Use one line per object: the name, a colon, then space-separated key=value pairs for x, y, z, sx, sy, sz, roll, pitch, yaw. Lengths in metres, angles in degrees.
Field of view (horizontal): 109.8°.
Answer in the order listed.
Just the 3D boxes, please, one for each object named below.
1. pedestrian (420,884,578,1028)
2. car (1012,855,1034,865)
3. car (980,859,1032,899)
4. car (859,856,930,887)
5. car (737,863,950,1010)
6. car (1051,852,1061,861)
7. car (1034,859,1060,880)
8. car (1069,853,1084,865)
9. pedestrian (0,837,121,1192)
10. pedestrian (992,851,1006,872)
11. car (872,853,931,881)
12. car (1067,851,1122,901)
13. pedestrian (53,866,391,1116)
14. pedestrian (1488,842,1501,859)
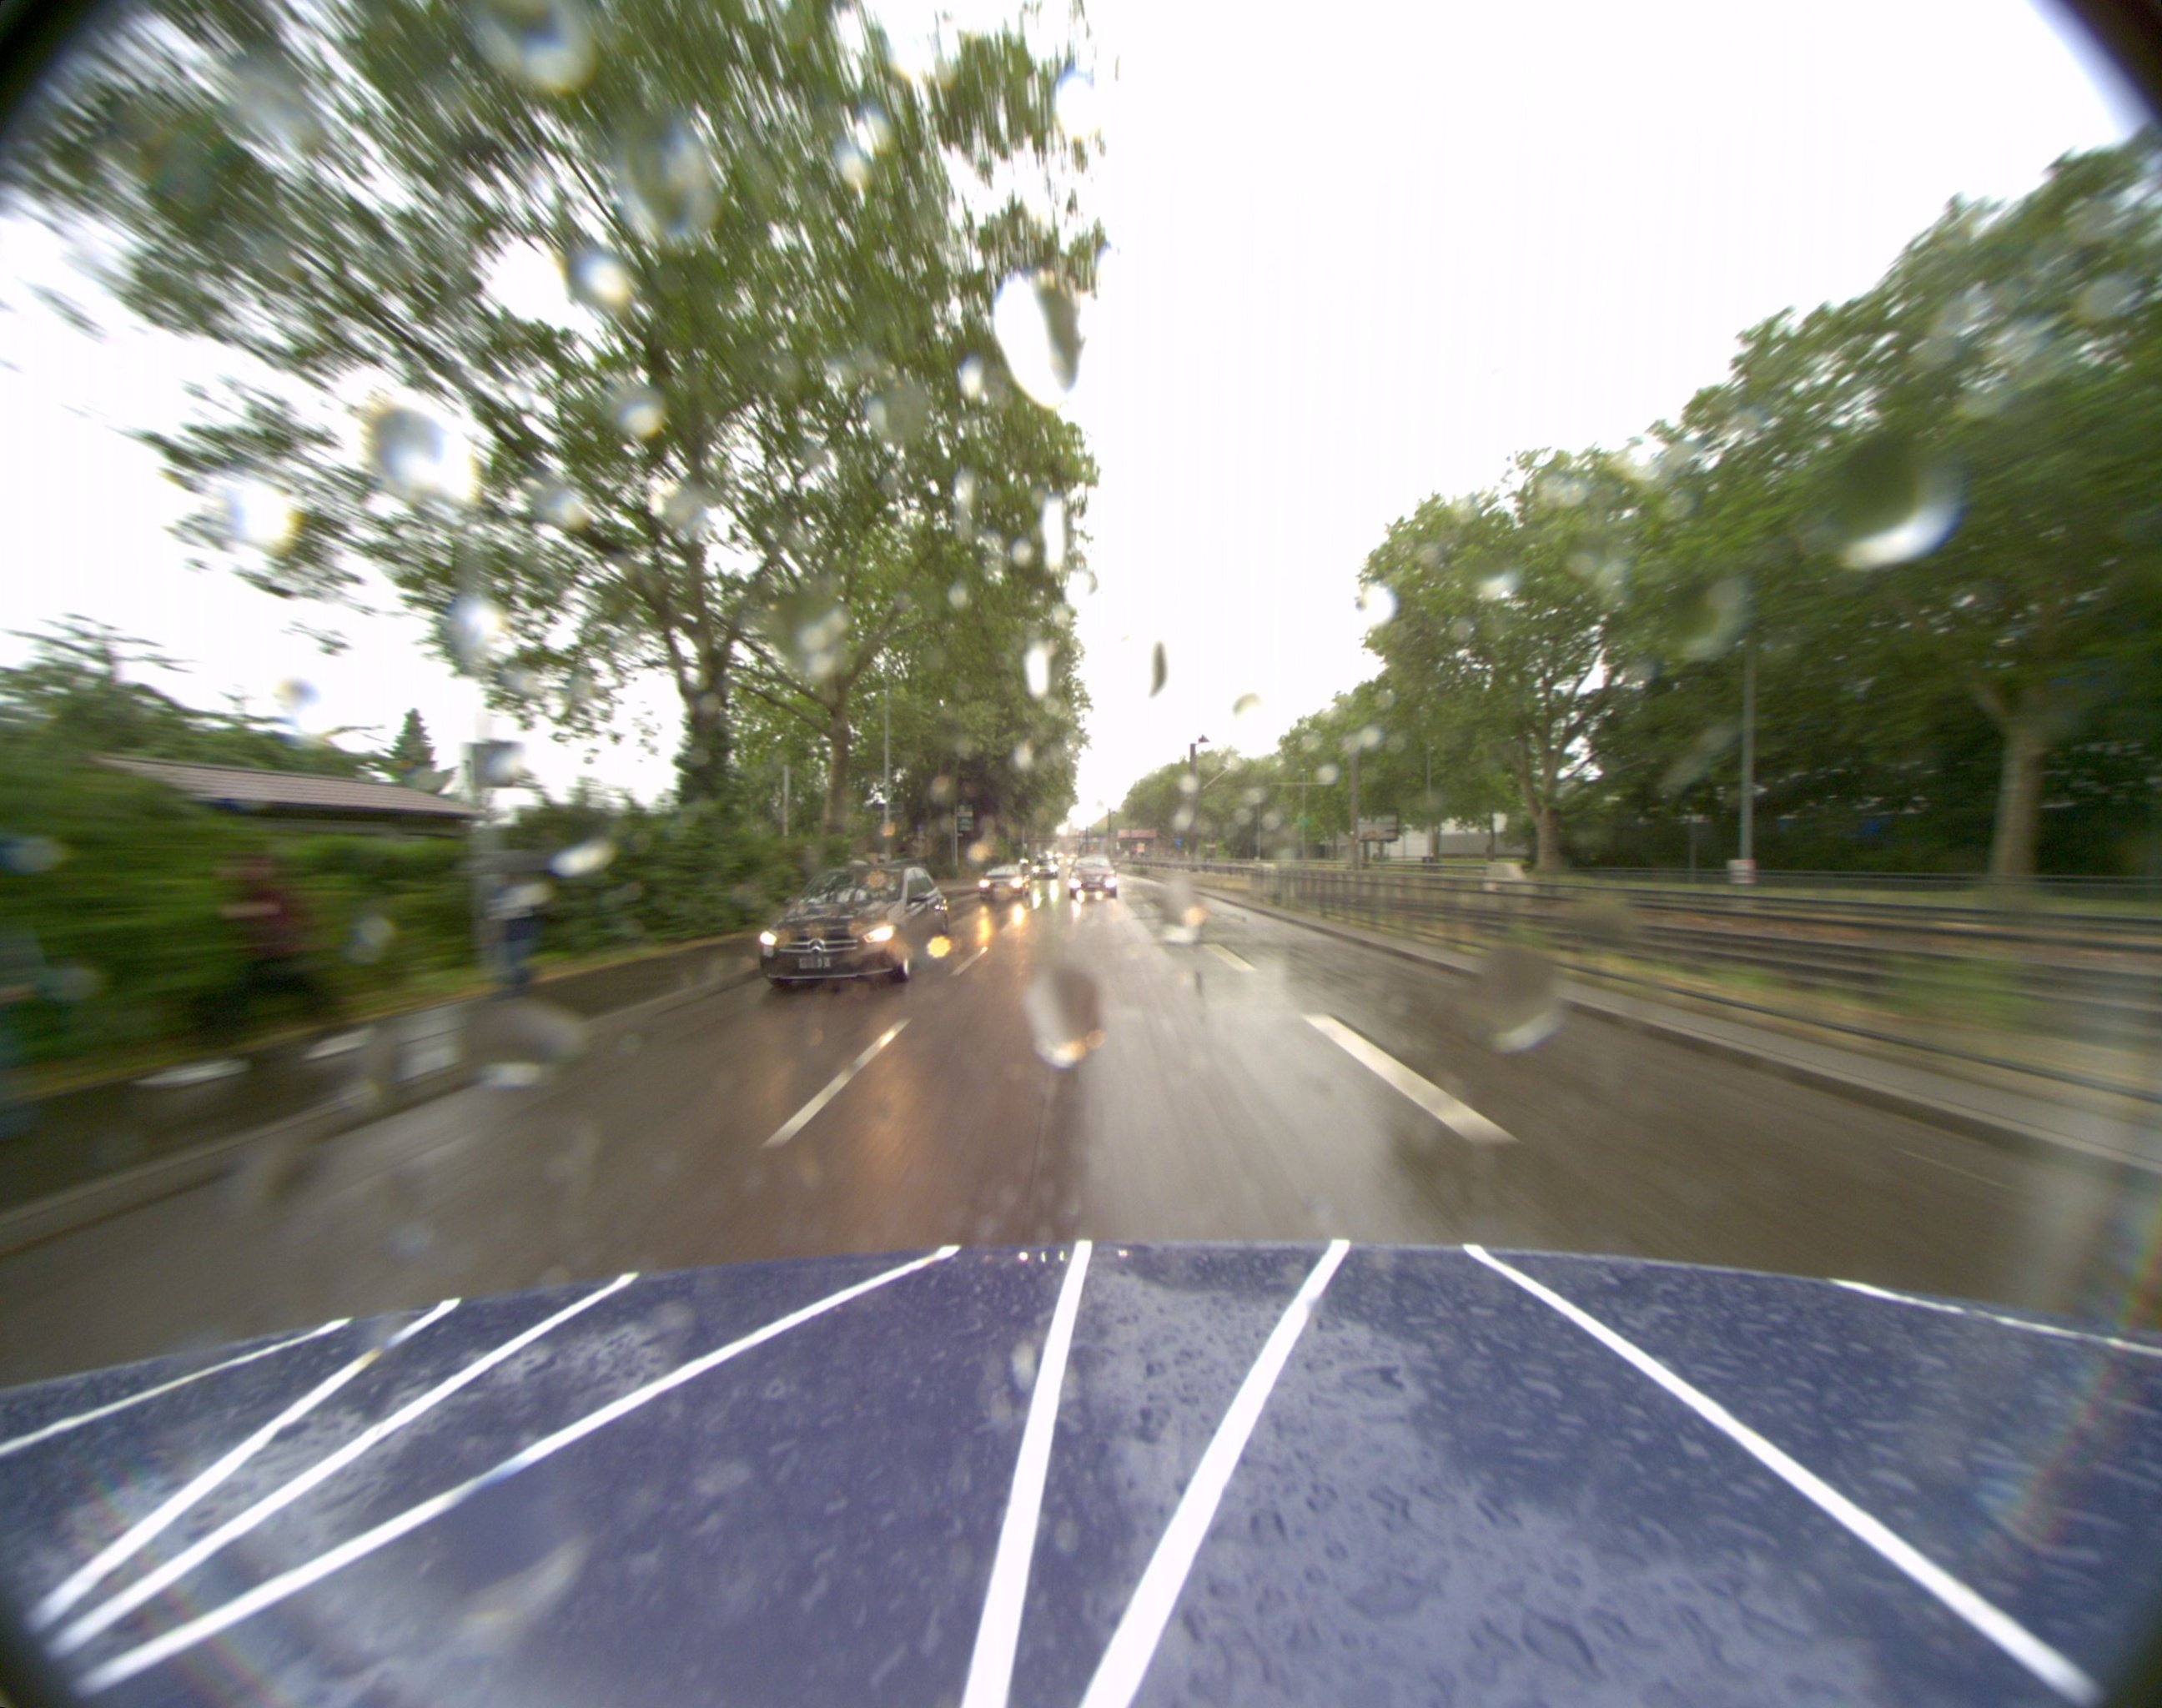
pedestrian: x=-6.155 y=1.043 z=8.100 sx=0.894 sy=1.382 sz=1.016 roll=1 pitch=1 yaw=1
car: x=-9.165 y=0.970 z=120.105 sx=1.611 sy=1.423 sz=3.546 roll=-3 pitch=1 yaw=-43
car: x=-2.946 y=0.952 z=30.387 sx=1.641 sy=1.377 sz=3.781 roll=-2 pitch=1 yaw=0
car: x=-9.853 y=0.921 z=40.386 sx=3.390 sy=1.488 sz=1.658 roll=-2 pitch=-1 yaw=-5
car: x=-3.105 y=0.970 z=10.953 sx=1.821 sy=1.521 sz=4.420 roll=-3 pitch=1 yaw=-3
car: x=-5.095 y=0.556 z=154.291 sx=1.870 sy=1.689 sz=4.157 roll=-1 pitch=0 yaw=-3
car: x=-2.479 y=1.117 z=55.970 sx=1.821 sy=1.520 sz=4.158 roll=-1 pitch=0 yaw=-2
car: x=-0.665 y=0.680 z=109.822 sx=1.870 sy=1.689 sz=4.424 roll=-1 pitch=0 yaw=-3
pedestrian: x=-6.033 y=0.810 z=3.680 sx=1.243 sy=1.775 sz=1.147 roll=-1 pitch=1 yaw=0
pedestrian: x=-6.940 y=0.653 z=64.240 sx=0.969 sy=1.692 sz=1.141 roll=-3 pitch=0 yaw=-1
car: x=-11.067 y=0.808 z=46.956 sx=3.392 sy=1.599 sz=1.657 roll=-1 pitch=-1 yaw=-10
car: x=0.511 y=0.819 z=30.180 sx=1.975 sy=1.794 sz=4.158 roll=-2 pitch=0 yaw=0
pedestrian: x=-6.103 y=0.895 z=5.525 sx=0.949 sy=1.580 sz=1.293 roll=0 pitch=1 yaw=1
pedestrian: x=49.164 y=-0.459 z=90.369 sx=1.004 sy=2.002 sz=0.790 roll=-3 pitch=1 yaw=-1
